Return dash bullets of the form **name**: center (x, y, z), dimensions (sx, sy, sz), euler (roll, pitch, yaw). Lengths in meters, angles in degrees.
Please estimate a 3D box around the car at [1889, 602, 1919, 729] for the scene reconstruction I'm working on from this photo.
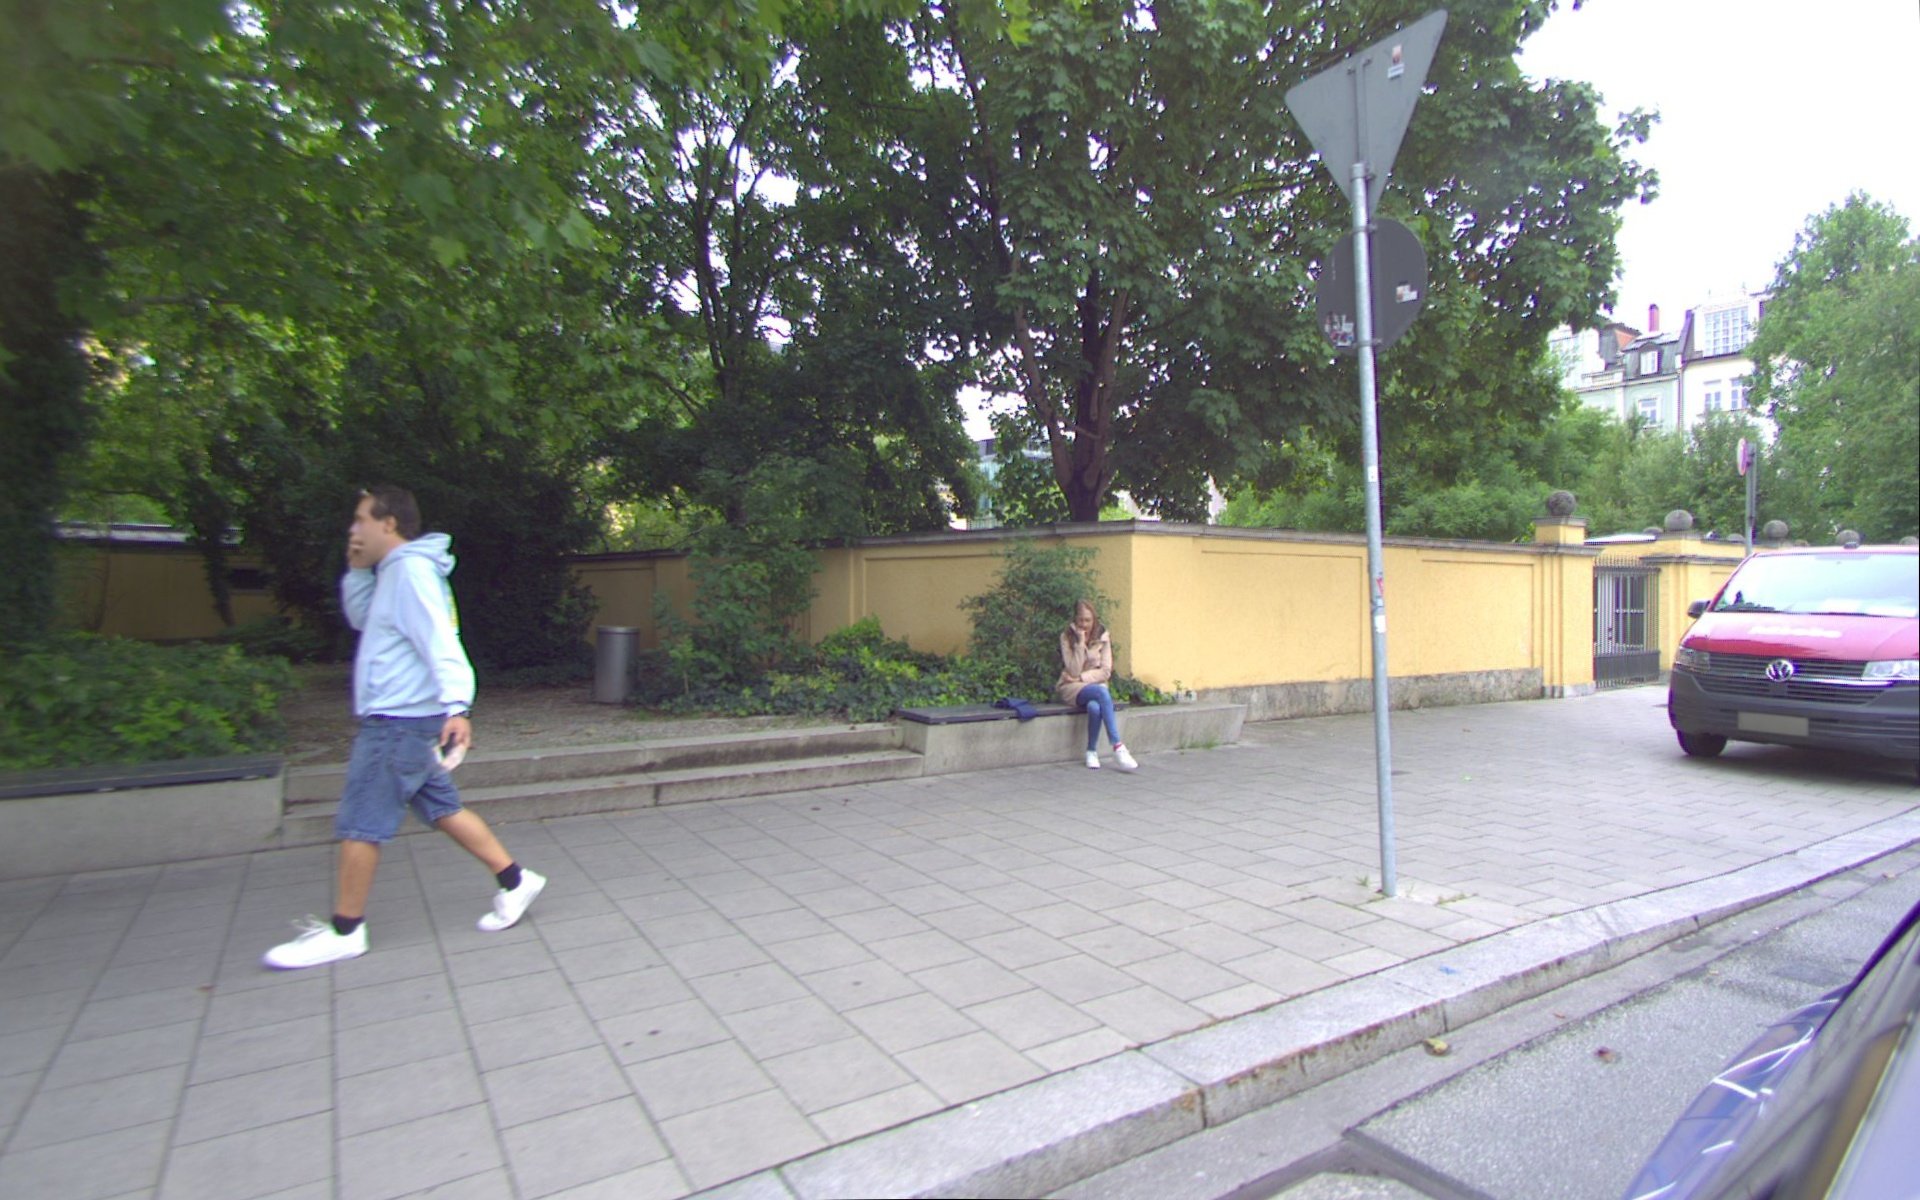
- **car**: center (13.190, 0.720, 12.307), dimensions (4.286, 1.467, 1.890), euler (0, -2, -35)

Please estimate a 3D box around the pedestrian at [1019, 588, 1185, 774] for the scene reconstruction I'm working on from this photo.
- **pedestrian**: center (1.109, 0.587, 8.023), dimensions (0.859, 1.355, 1.014), euler (0, 0, -29)

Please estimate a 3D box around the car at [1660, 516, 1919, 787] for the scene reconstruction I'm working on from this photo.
- **car**: center (8.518, 0.370, 9.177), dimensions (4.793, 1.945, 1.880), euler (0, -1, -33)

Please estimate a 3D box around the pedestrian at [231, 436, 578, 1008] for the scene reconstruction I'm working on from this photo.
- **pedestrian**: center (-2.065, 0.375, 3.816), dimensions (1.031, 1.793, 0.877), euler (0, 0, -31)
